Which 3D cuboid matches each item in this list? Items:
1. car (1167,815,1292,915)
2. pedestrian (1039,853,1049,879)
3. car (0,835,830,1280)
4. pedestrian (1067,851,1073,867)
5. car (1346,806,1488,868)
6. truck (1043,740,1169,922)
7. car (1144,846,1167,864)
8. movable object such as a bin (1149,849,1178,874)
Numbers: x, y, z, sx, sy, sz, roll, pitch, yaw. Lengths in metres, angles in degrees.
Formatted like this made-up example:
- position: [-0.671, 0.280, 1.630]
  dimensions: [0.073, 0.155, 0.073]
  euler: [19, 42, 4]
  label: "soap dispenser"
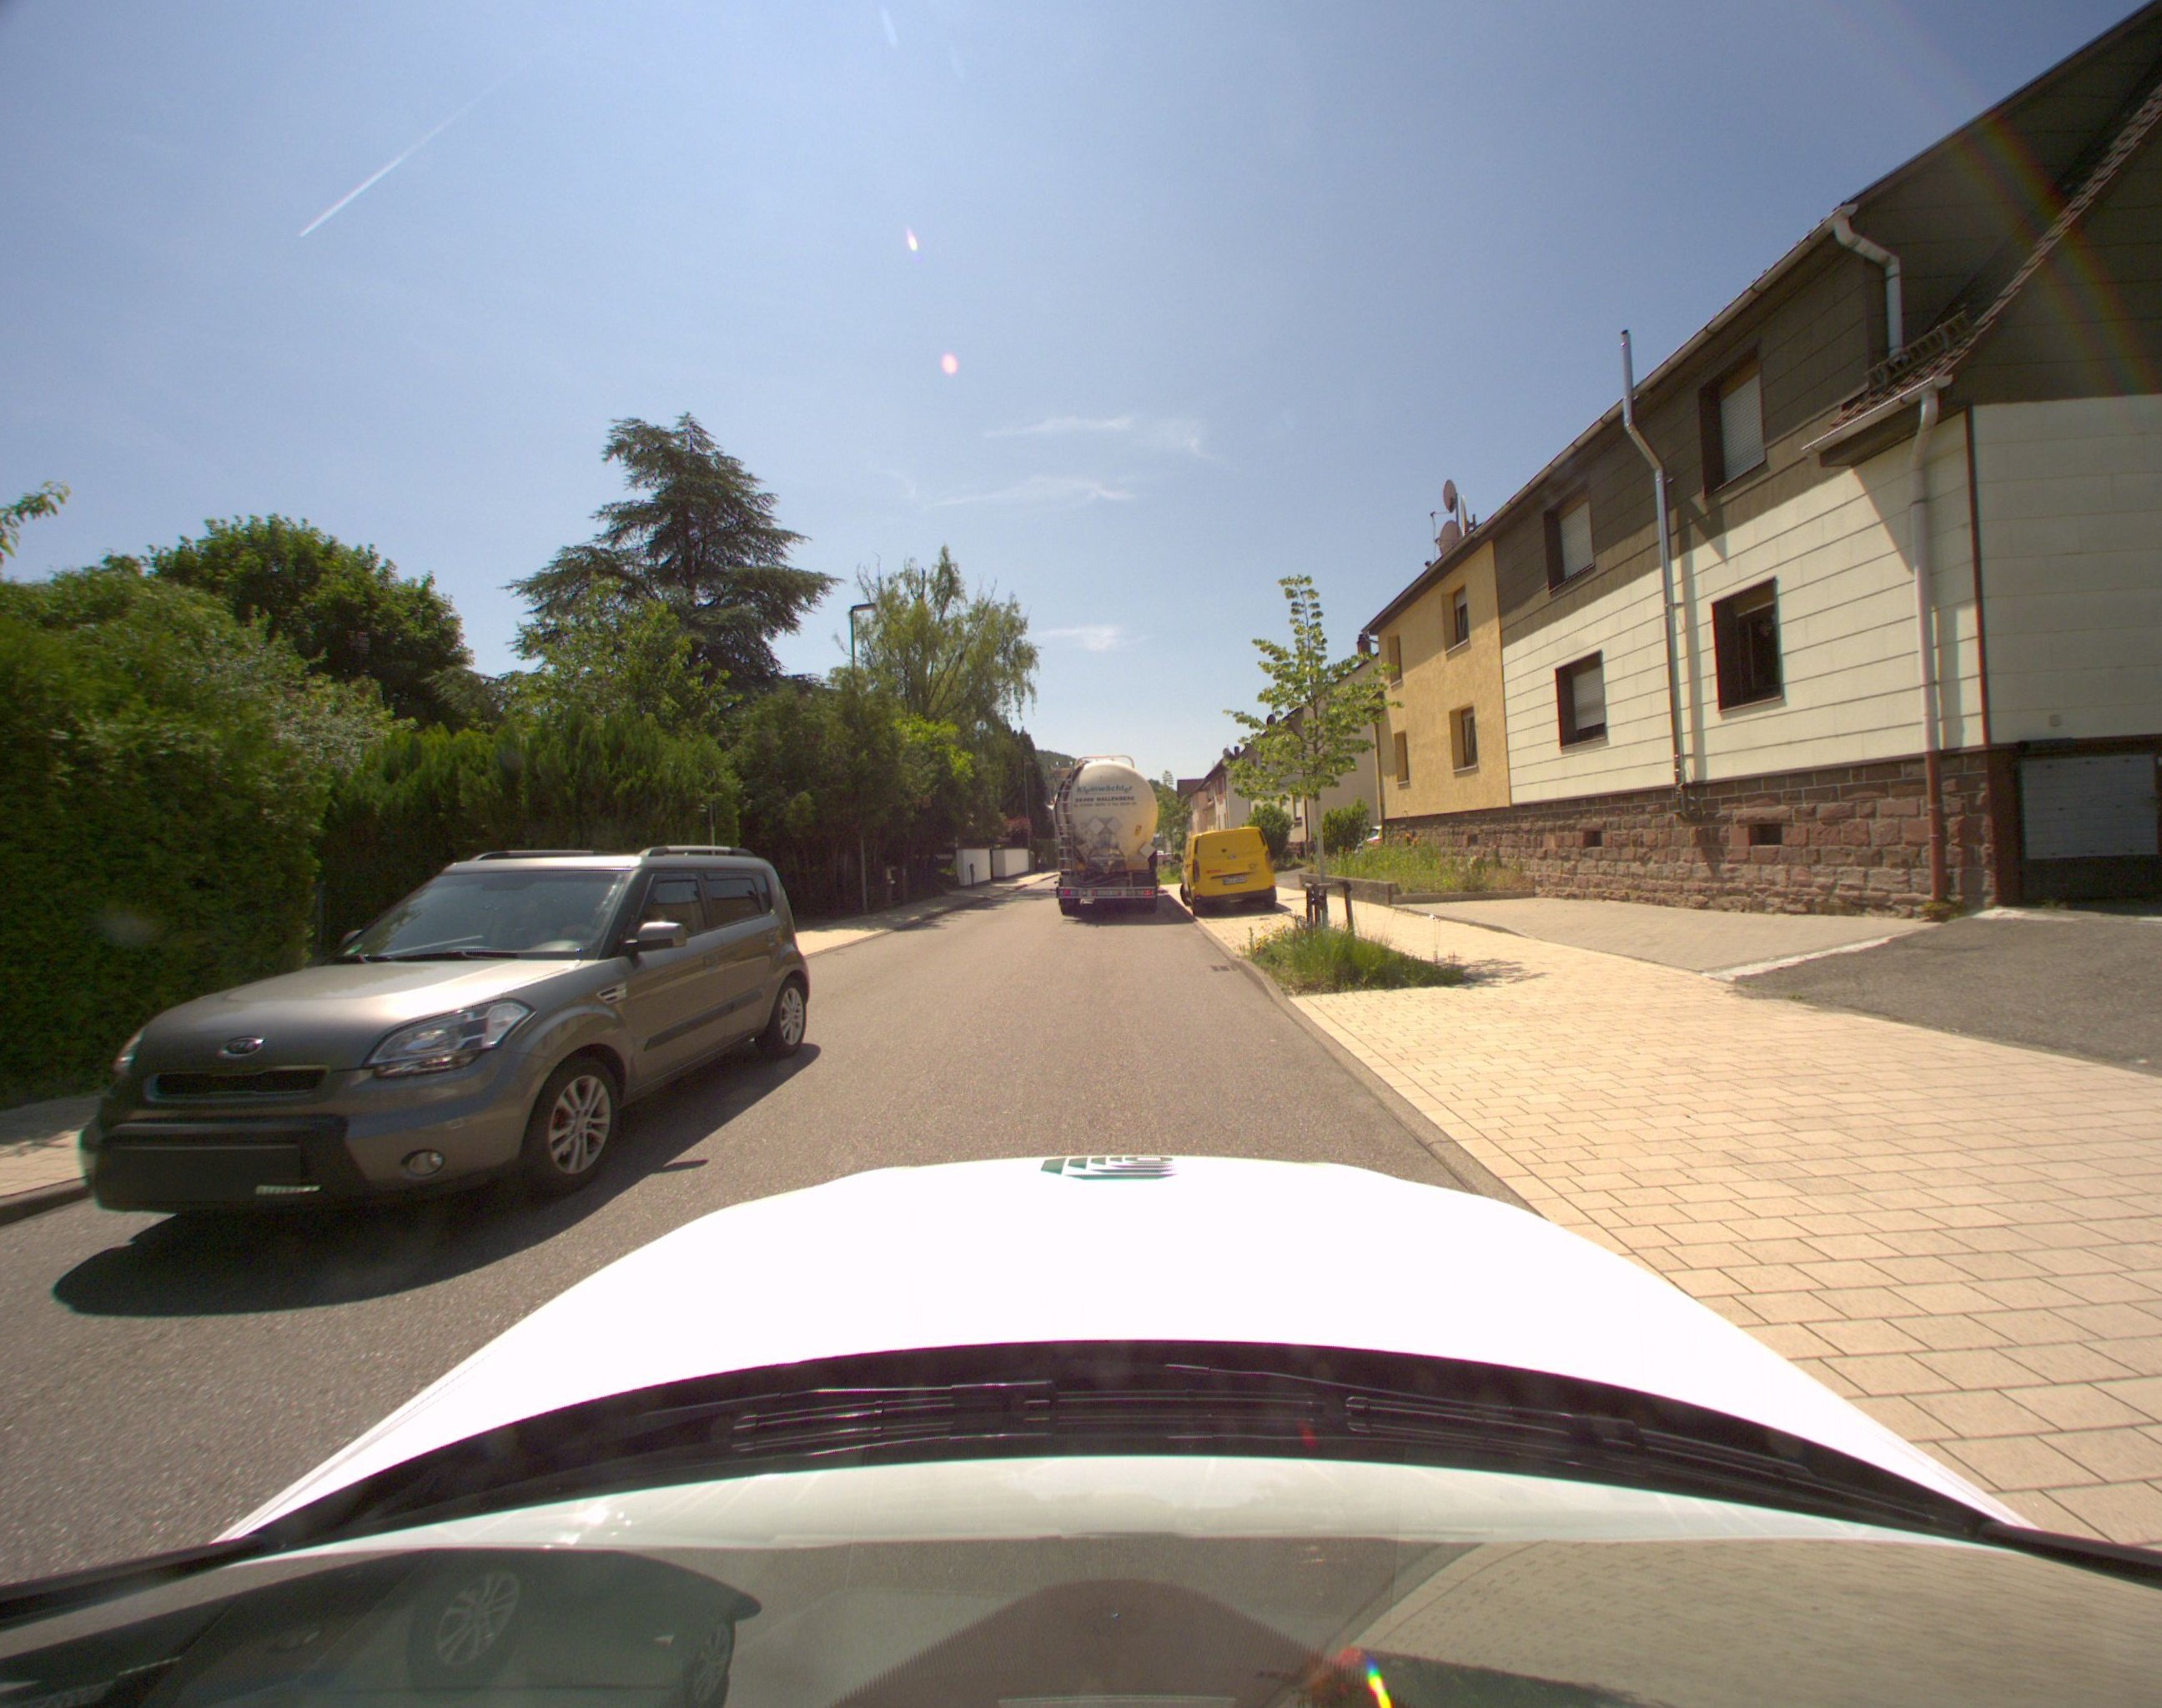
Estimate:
- position: [3.646, 0.282, 21.226]
  dimensions: [2.182, 2.013, 5.624]
  euler: [-7, -1, 2]
  label: "car"
- position: [-2.957, 0.957, 65.494]
  dimensions: [0.718, 2.014, 0.804]
  euler: [-1, -1, 2]
  label: "pedestrian"
- position: [-3.183, 0.757, 5.038]
  dimensions: [1.860, 1.652, 3.951]
  euler: [-1, 0, 2]
  label: "car"
- position: [-1.360, 0.584, 97.588]
  dimensions: [0.710, 1.823, 0.898]
  euler: [-1, -1, -1]
  label: "pedestrian"
- position: [11.455, -0.553, 27.944]
  dimensions: [3.974, 1.676, 1.874]
  euler: [-6, 0, 0]
  label: "car"
- position: [0.794, -0.539, 24.064]
  dimensions: [2.739, 4.056, 10.895]
  euler: [-2, 0, 2]
  label: "truck"
- position: [6.760, 0.100, 74.424]
  dimensions: [1.749, 1.418, 4.635]
  euler: [-5, -1, 3]
  label: "car"
- position: [5.151, 0.483, 50.922]
  dimensions: [1.565, 1.416, 3.043]
  euler: [-3, -1, 2]
  label: "movable object such as a bin"
